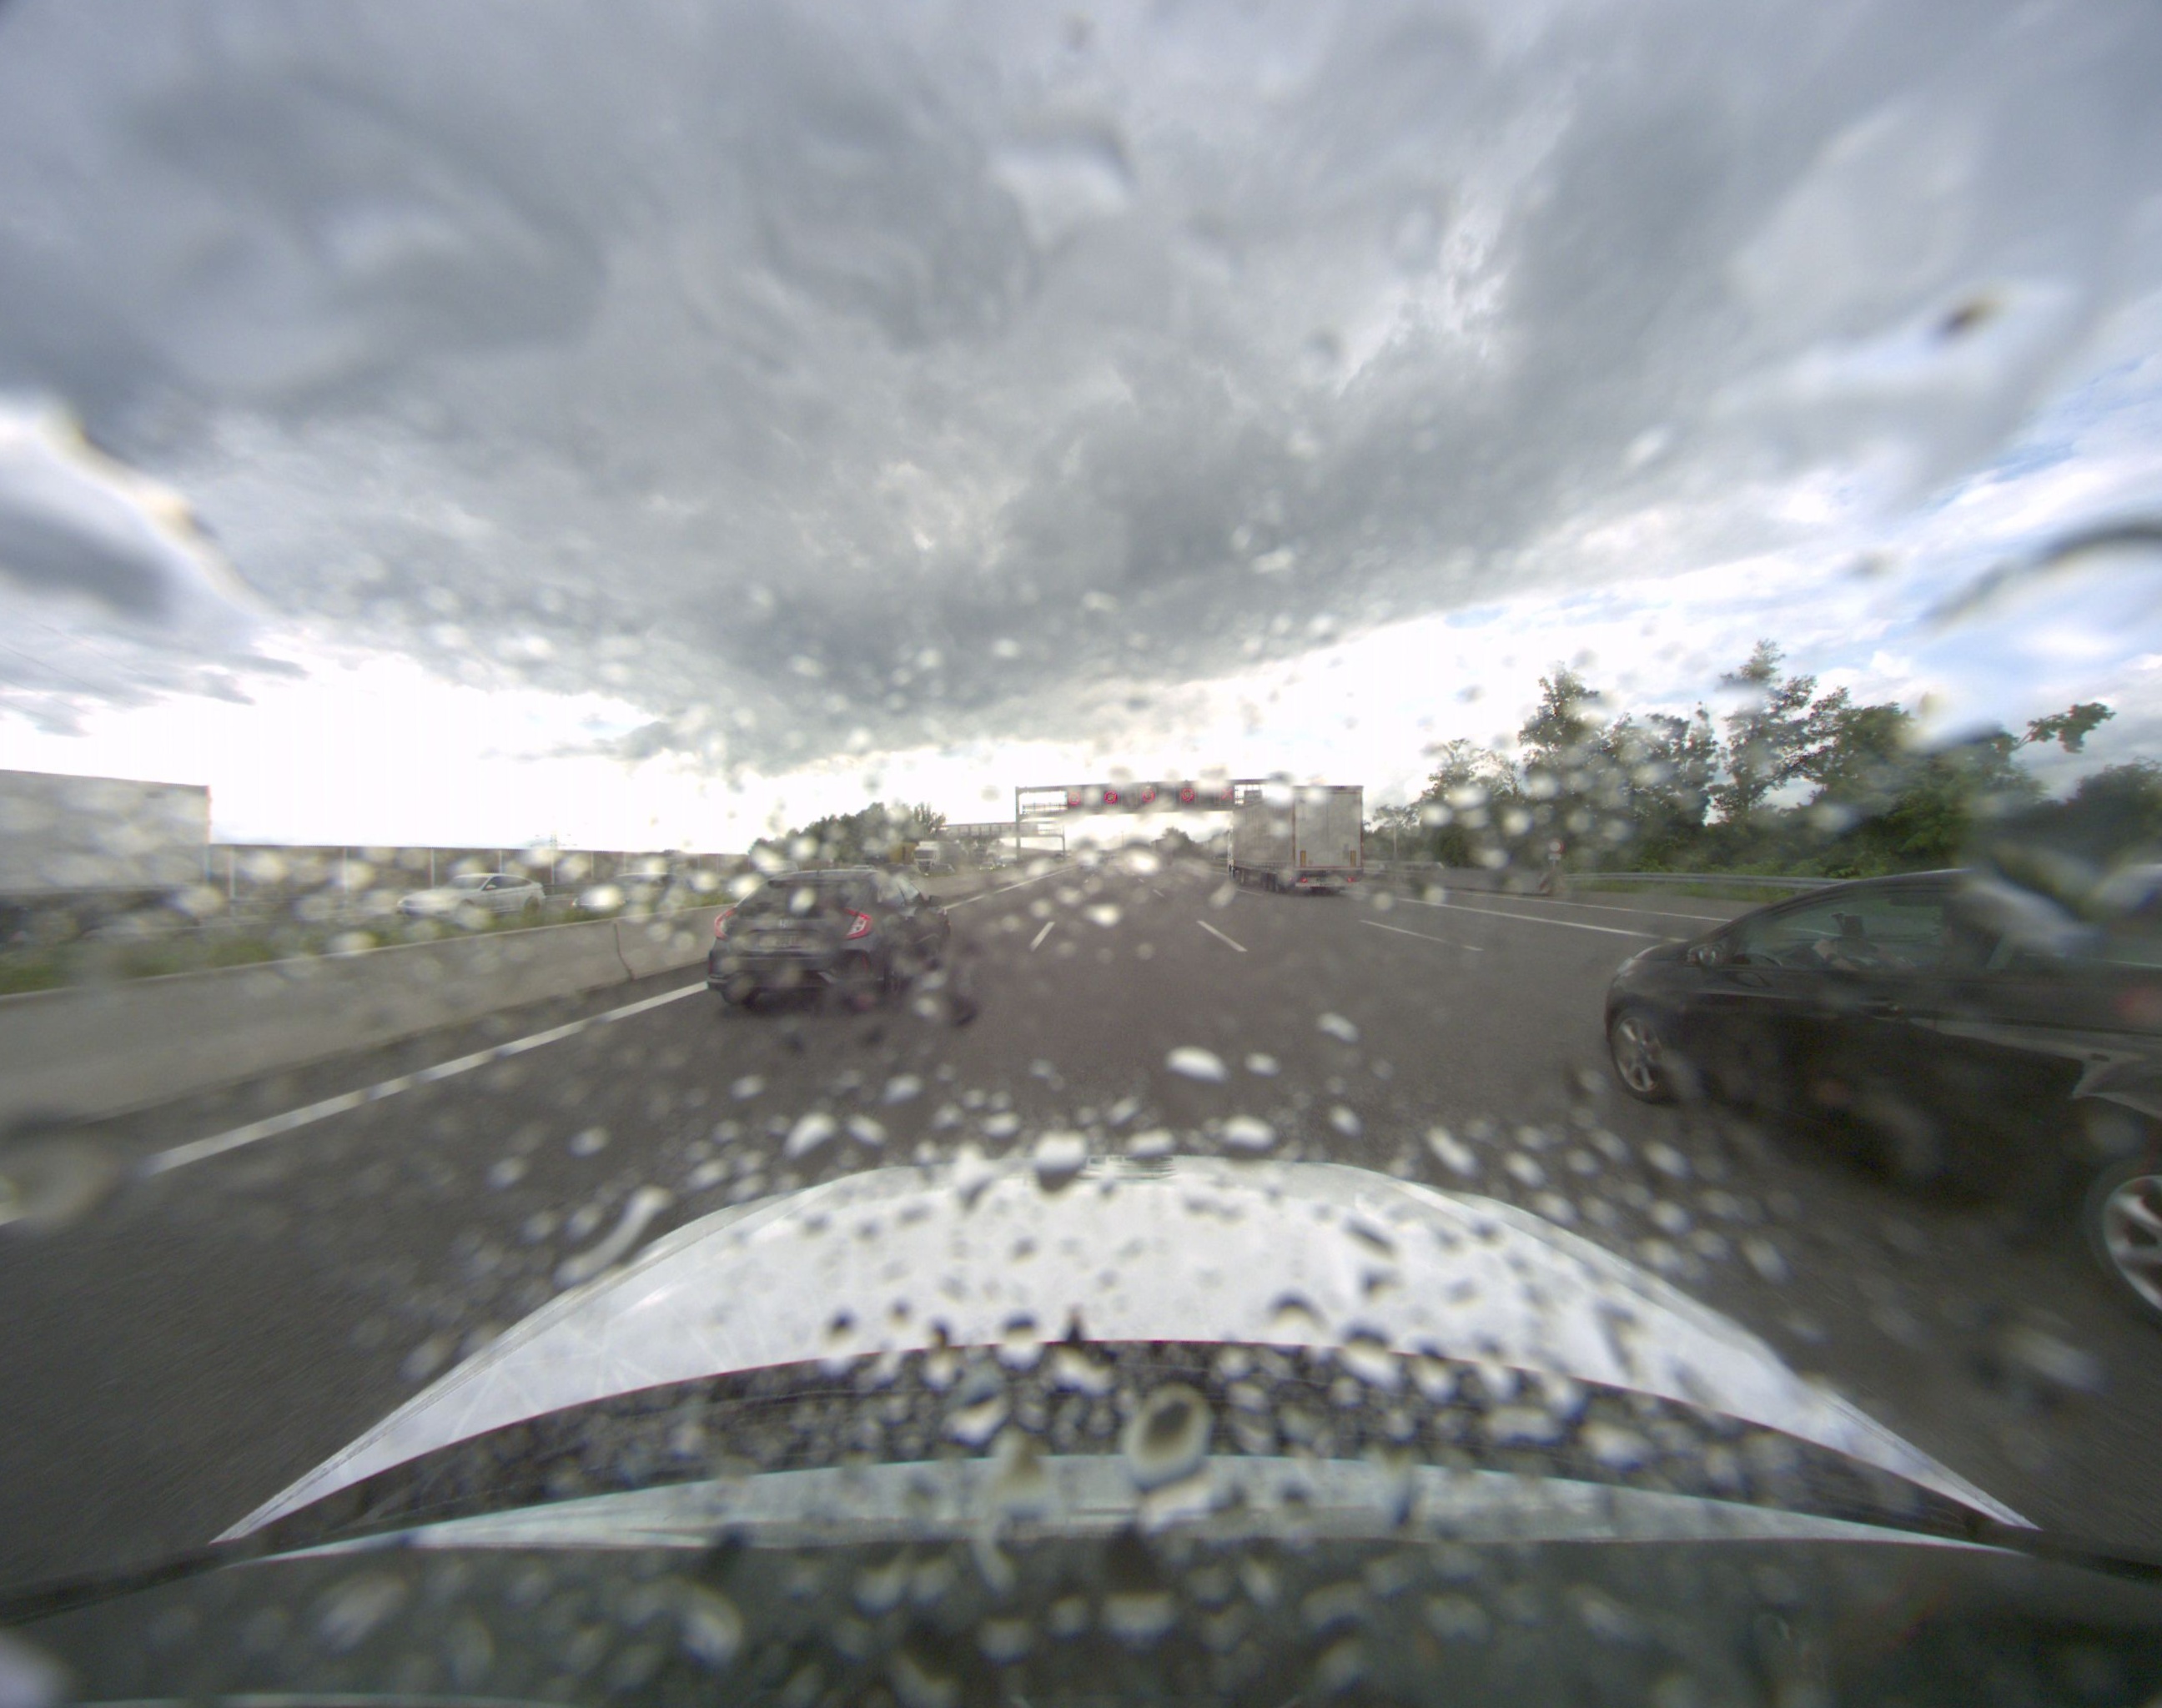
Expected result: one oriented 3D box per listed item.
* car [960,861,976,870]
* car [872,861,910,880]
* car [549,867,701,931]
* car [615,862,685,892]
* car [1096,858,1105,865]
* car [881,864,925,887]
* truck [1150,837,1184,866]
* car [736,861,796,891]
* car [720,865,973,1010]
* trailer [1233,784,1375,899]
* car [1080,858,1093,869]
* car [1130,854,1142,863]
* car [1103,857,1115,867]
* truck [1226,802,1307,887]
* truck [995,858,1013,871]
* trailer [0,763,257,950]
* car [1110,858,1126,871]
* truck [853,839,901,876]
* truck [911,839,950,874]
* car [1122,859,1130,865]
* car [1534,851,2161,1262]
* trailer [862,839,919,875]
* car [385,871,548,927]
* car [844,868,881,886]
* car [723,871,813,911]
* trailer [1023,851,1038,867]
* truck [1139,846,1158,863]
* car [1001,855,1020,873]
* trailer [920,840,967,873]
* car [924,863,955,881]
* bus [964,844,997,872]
[{"bbox_3d":[-19.807,1.953,142.958,1.800,1.488,4.776,-1,-1,3],"label":"car"},{"bbox_3d":[-15.151,1.289,65.149,1.781,1.381,4.861,0,0,1],"label":"car"},{"bbox_3d":[-12.274,1.142,22.266,1.710,1.523,4.213,0,0,1],"label":"car"},{"bbox_3d":[-24.182,1.258,45.856,1.781,1.597,3.956,0,0,1],"label":"car"},{"bbox_3d":[4.519,1.747,188.723,1.767,1.441,4.054,0,0,0],"label":"car"},{"bbox_3d":[-11.897,1.410,54.725,1.781,1.381,4.861,0,0,1],"label":"car"},{"bbox_3d":[13.292,-0.290,126.841,4.165,4.288,12.615,0,0,1],"label":"truck"},{"bbox_3d":[-19.190,1.325,49.795,1.784,1.739,4.578,0,0,1],"label":"car"},{"bbox_3d":[-2.709,0.881,10.762,1.754,1.369,5.061,0,0,1],"label":"car"},{"bbox_3d":[9.176,-0.440,35.770,2.949,4.020,14.126,0,0,2],"label":"trailer"},{"bbox_3d":[0.728,1.252,108.252,1.766,1.441,3.874,0,0,0],"label":"car"},{"bbox_3d":[9.022,0.798,134.120,1.829,1.441,4.057,0,0,2],"label":"car"},{"bbox_3d":[4.355,1.264,125.615,1.766,1.441,4.055,0,0,0],"label":"car"},{"bbox_3d":[9.440,-0.457,42.179,2.949,4.020,6.592,0,0,2],"label":"truck"},{"bbox_3d":[-12.511,1.669,132.836,2.235,2.000,5.546,-1,-1,2],"label":"truck"},{"bbox_3d":[-25.312,0.053,17.105,2.890,4.116,12.700,0,0,1],"label":"trailer"},{"bbox_3d":[4.397,1.194,96.836,1.766,1.441,4.055,0,0,0],"label":"car"},{"bbox_3d":[-22.735,0.411,91.145,3.017,3.933,7.715,-1,-1,3],"label":"truck"},{"bbox_3d":[-17.782,0.309,96.671,2.874,3.961,7.541,0,0,3],"label":"truck"},{"bbox_3d":[10.659,1.868,191.893,1.829,1.441,4.057,0,0,2],"label":"car"},{"bbox_3d":[4.069,0.720,4.466,1.442,1.441,3.164,-1,0,1],"label":"car"},{"bbox_3d":[-22.443,0.421,96.820,3.017,3.933,12.983,-1,-1,3],"label":"trailer"},{"bbox_3d":[-19.984,1.397,26.785,1.781,1.591,4.582,0,0,1],"label":"car"},{"bbox_3d":[-18.627,1.925,69.620,1.781,1.381,4.861,0,0,1],"label":"car"},{"bbox_3d":[-12.555,1.433,33.022,1.710,1.426,4.861,0,0,1],"label":"car"},{"bbox_3d":[-10.759,1.048,174.219,2.439,3.138,6.054,-1,0,3],"label":"trailer"},{"bbox_3d":[17.111,0.115,207.289,4.228,4.176,11.994,0,0,2],"label":"truck"},{"bbox_3d":[-9.877,1.393,114.770,2.129,2.352,5.711,0,0,1],"label":"car"},{"bbox_3d":[-17.380,0.300,104.026,2.874,3.961,14.309,0,0,3],"label":"trailer"},{"bbox_3d":[-11.805,1.483,68.173,1.781,1.381,4.590,0,0,1],"label":"car"},{"bbox_3d":[-13.888,0.624,113.194,2.643,3.679,10.641,-1,-1,3],"label":"bus"}]
